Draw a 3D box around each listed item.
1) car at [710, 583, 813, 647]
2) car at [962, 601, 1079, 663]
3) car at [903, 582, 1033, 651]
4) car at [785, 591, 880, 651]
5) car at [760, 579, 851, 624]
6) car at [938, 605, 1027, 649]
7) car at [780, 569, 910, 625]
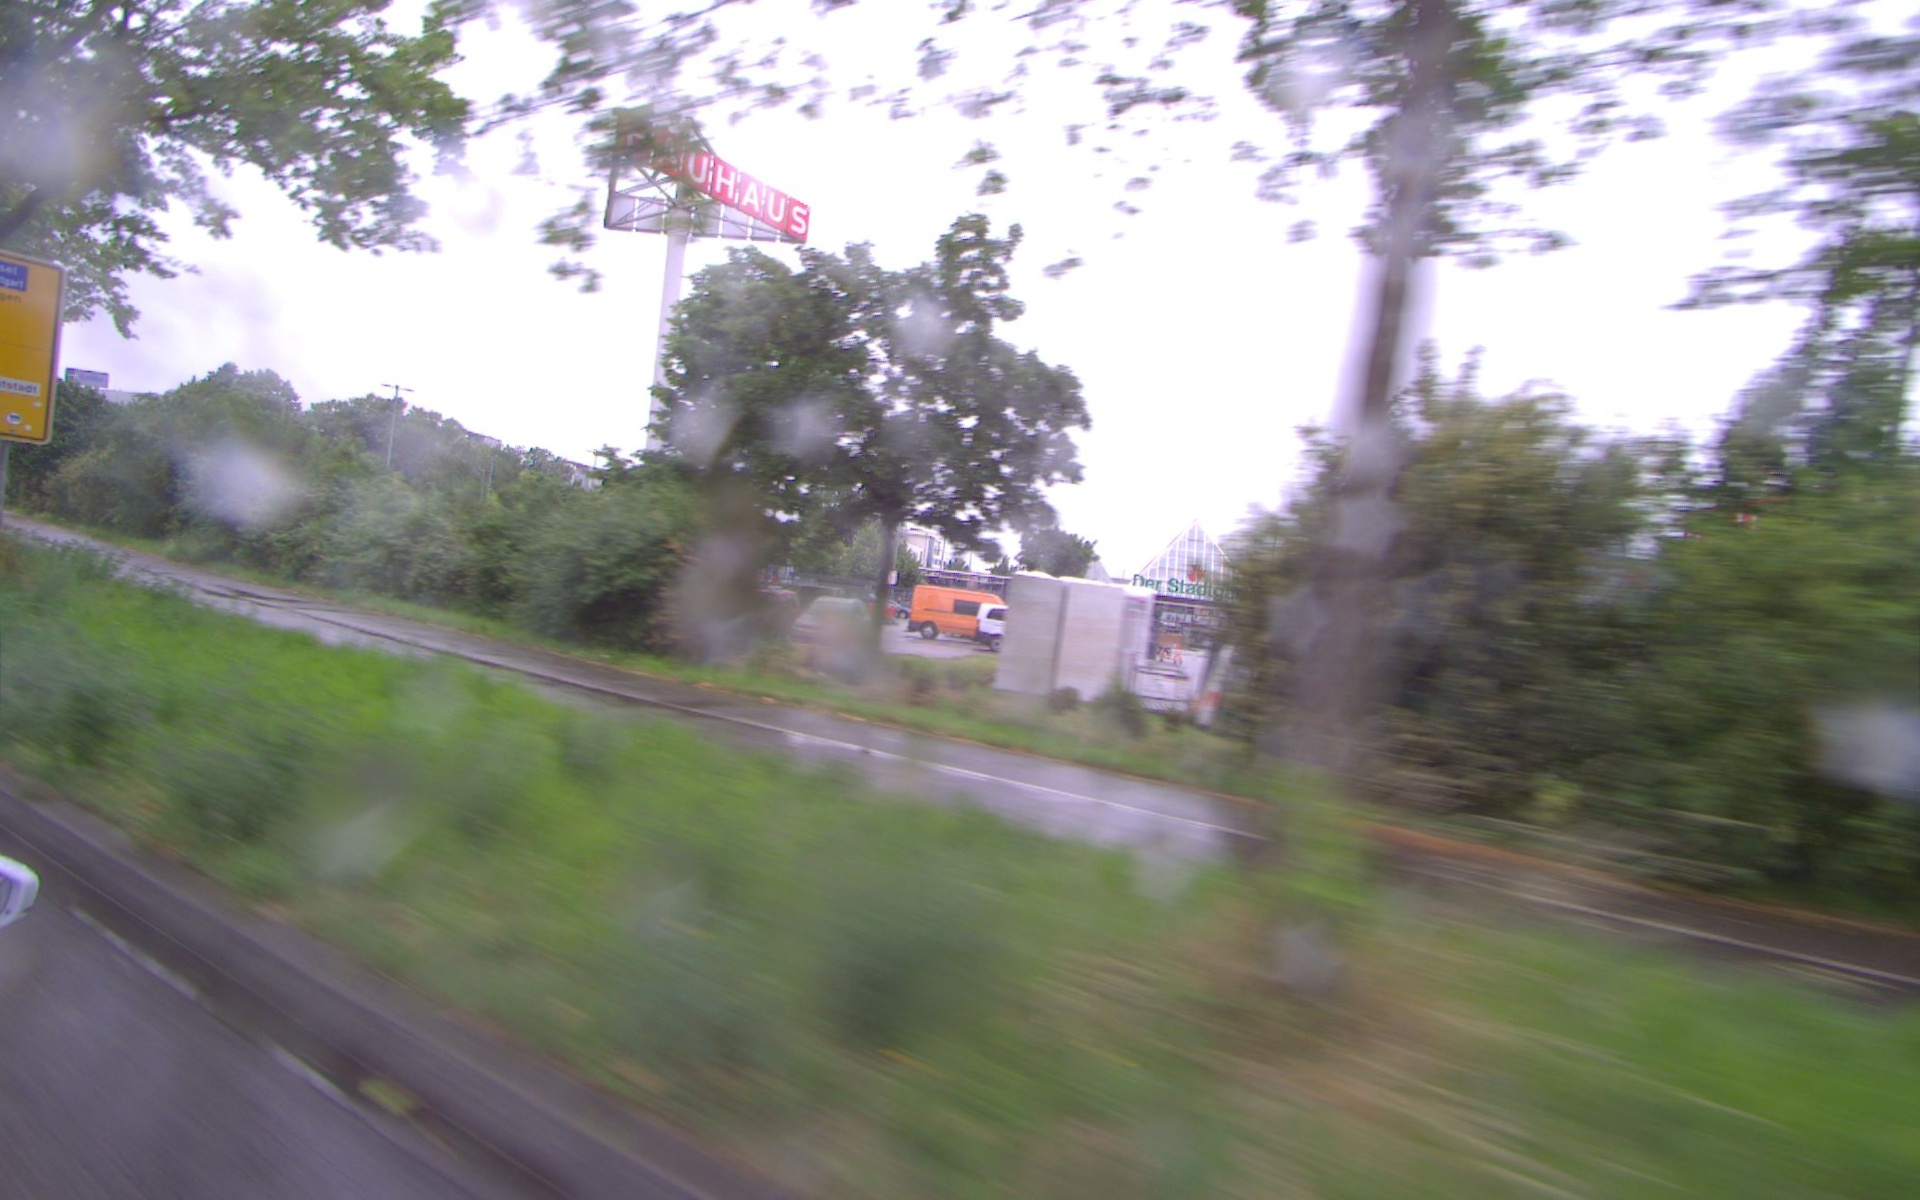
[{"bbox_3d":[-6.204,0.495,31.947,1.721,1.694,4.298,7,-1,8],"label":"car"},{"bbox_3d":[2.460,1.285,40.567,4.428,1.893,1.826,7,0,6],"label":"car"},{"bbox_3d":[0.438,0.739,46.145,5.572,2.396,2.280,7,0,4],"label":"car"},{"bbox_3d":[-3.894,0.663,31.368,1.721,1.537,4.298,7,-1,8],"label":"car"},{"bbox_3d":[-9.012,0.099,58.829,4.663,1.921,2.001,8,0,15],"label":"car"},{"bbox_3d":[1.198,1.380,51.485,4.257,1.654,1.940,8,0,5],"label":"car"},{"bbox_3d":[-7.174,-0.169,62.971,7.428,2.384,2.590,8,0,11],"label":"car"}]
